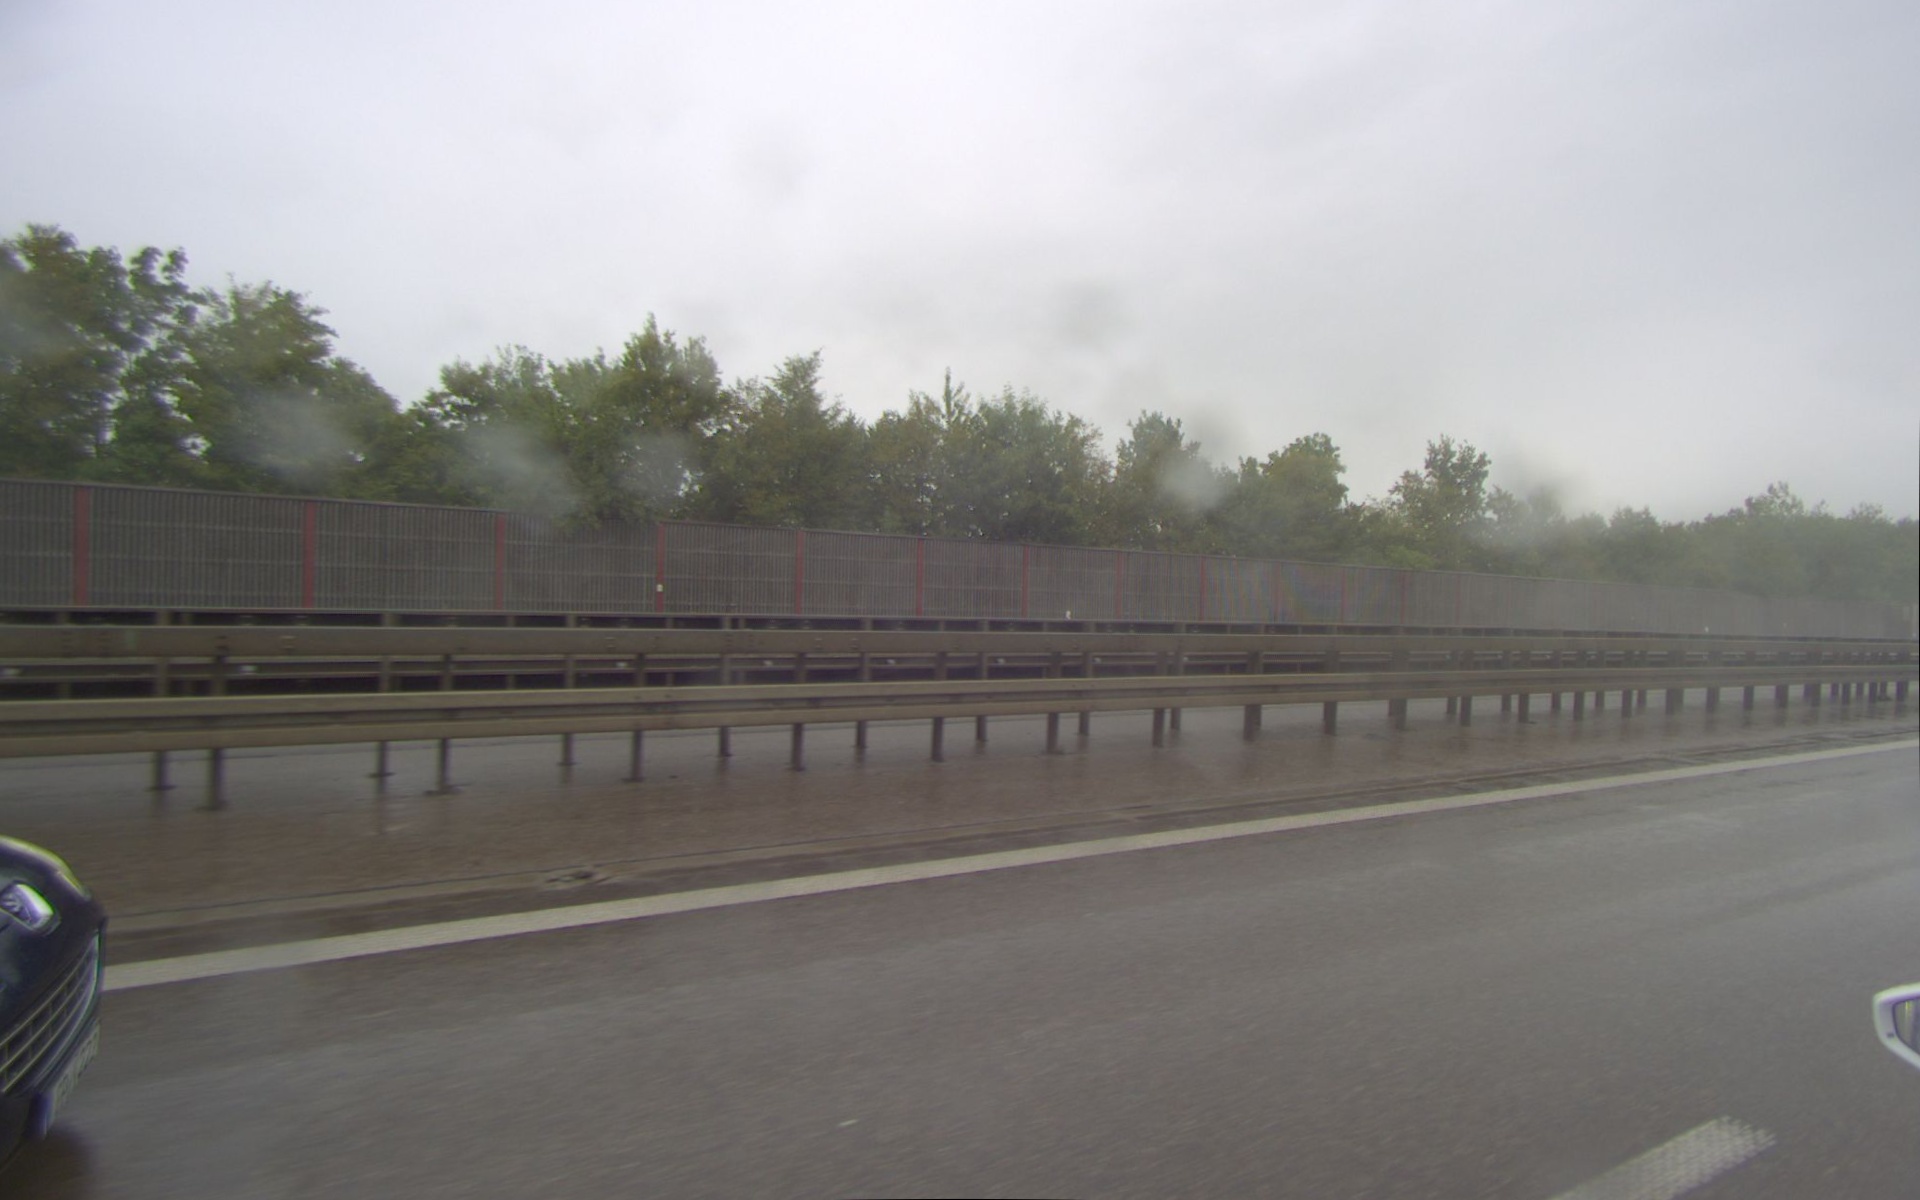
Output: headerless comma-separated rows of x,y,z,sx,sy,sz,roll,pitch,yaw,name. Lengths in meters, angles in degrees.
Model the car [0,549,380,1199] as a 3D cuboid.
-3.860,0.617,1.542,5.100,1.505,2.043,1,0,-32,car
